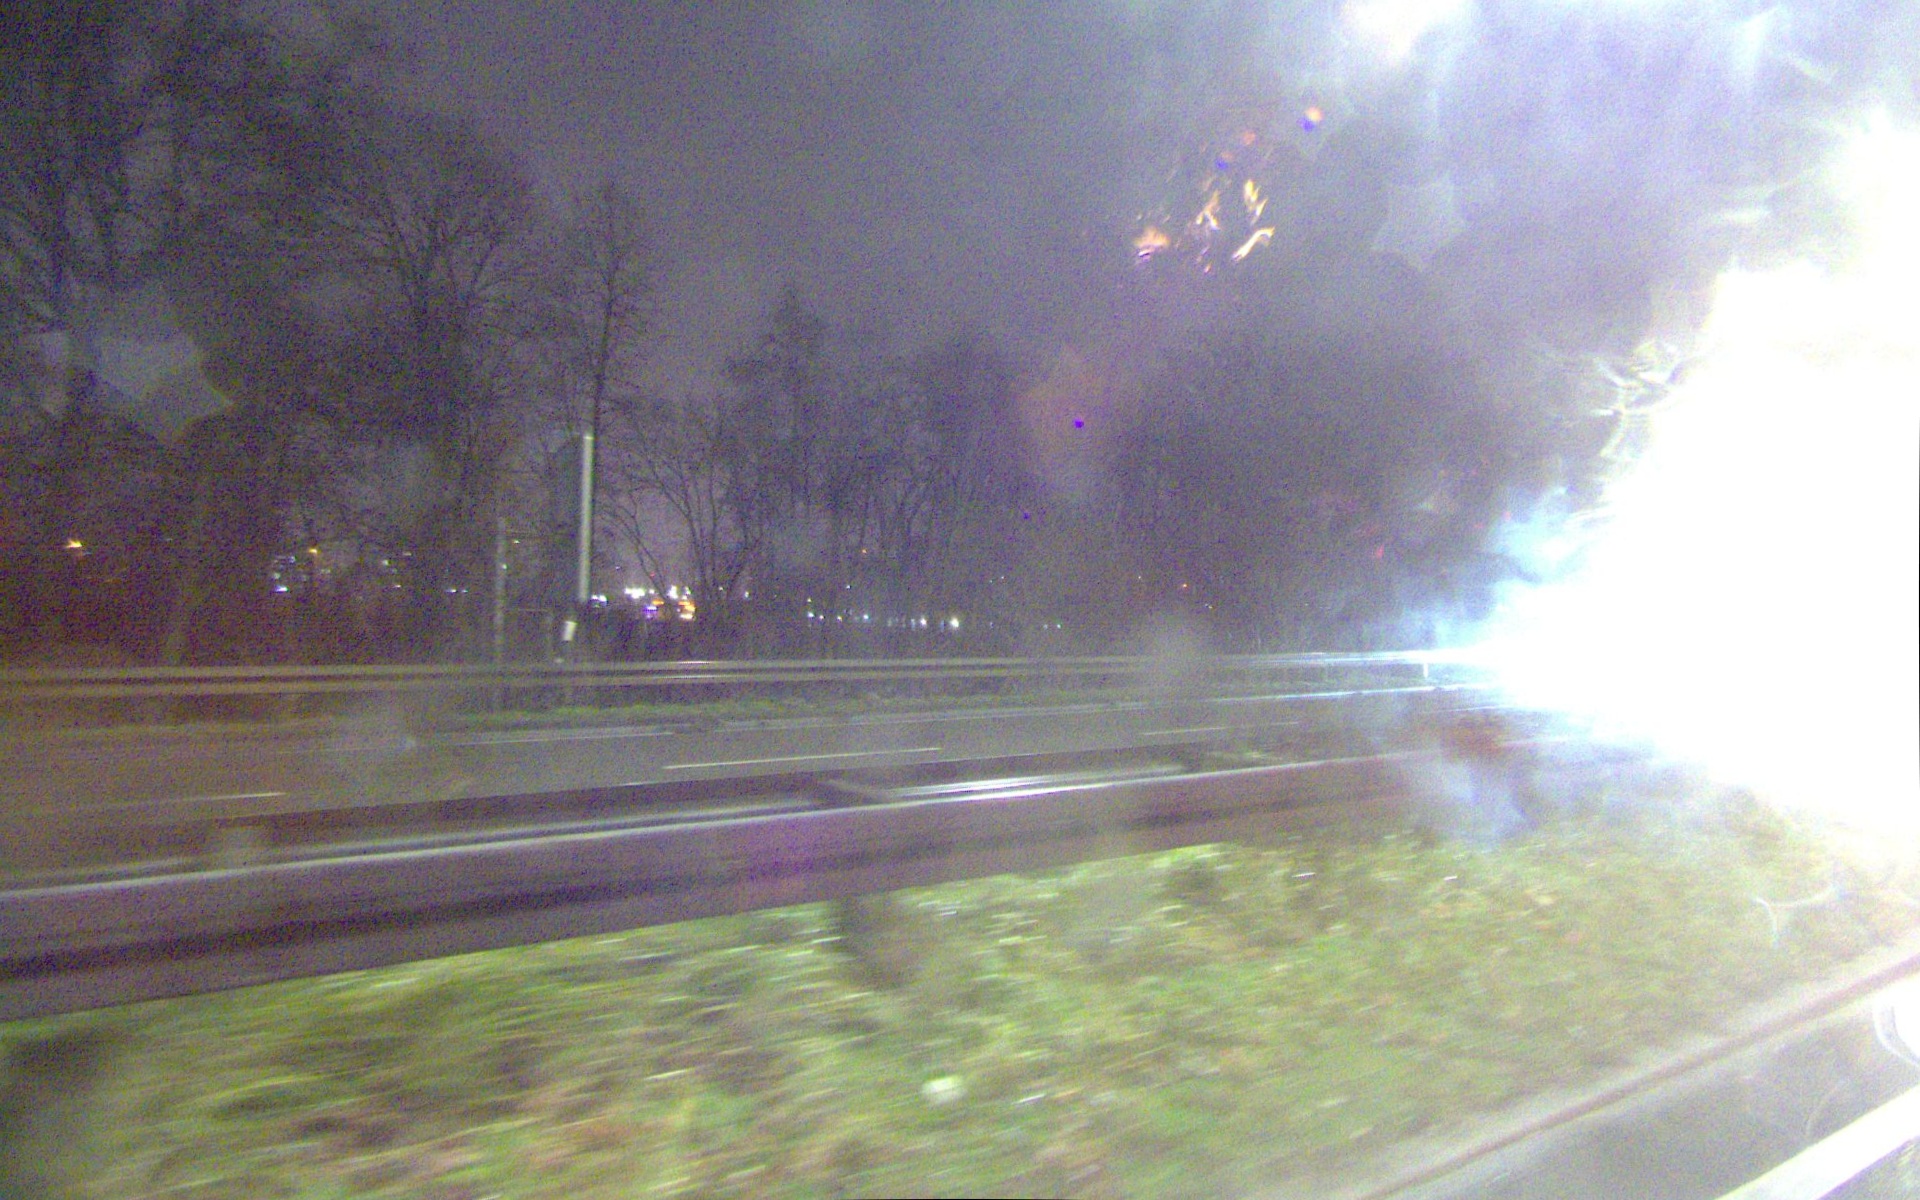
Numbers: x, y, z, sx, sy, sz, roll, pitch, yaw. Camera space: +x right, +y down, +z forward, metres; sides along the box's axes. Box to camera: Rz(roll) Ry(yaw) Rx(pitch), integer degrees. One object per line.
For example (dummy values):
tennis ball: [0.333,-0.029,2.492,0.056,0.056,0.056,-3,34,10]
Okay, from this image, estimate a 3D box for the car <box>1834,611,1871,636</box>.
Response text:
car: [77.548,2.019,87.295,2.184,2.040,3.982,1,0,39]

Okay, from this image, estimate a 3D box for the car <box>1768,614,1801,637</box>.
car: [63.431,1.940,77.325,1.764,1.668,3.985,1,0,37]
